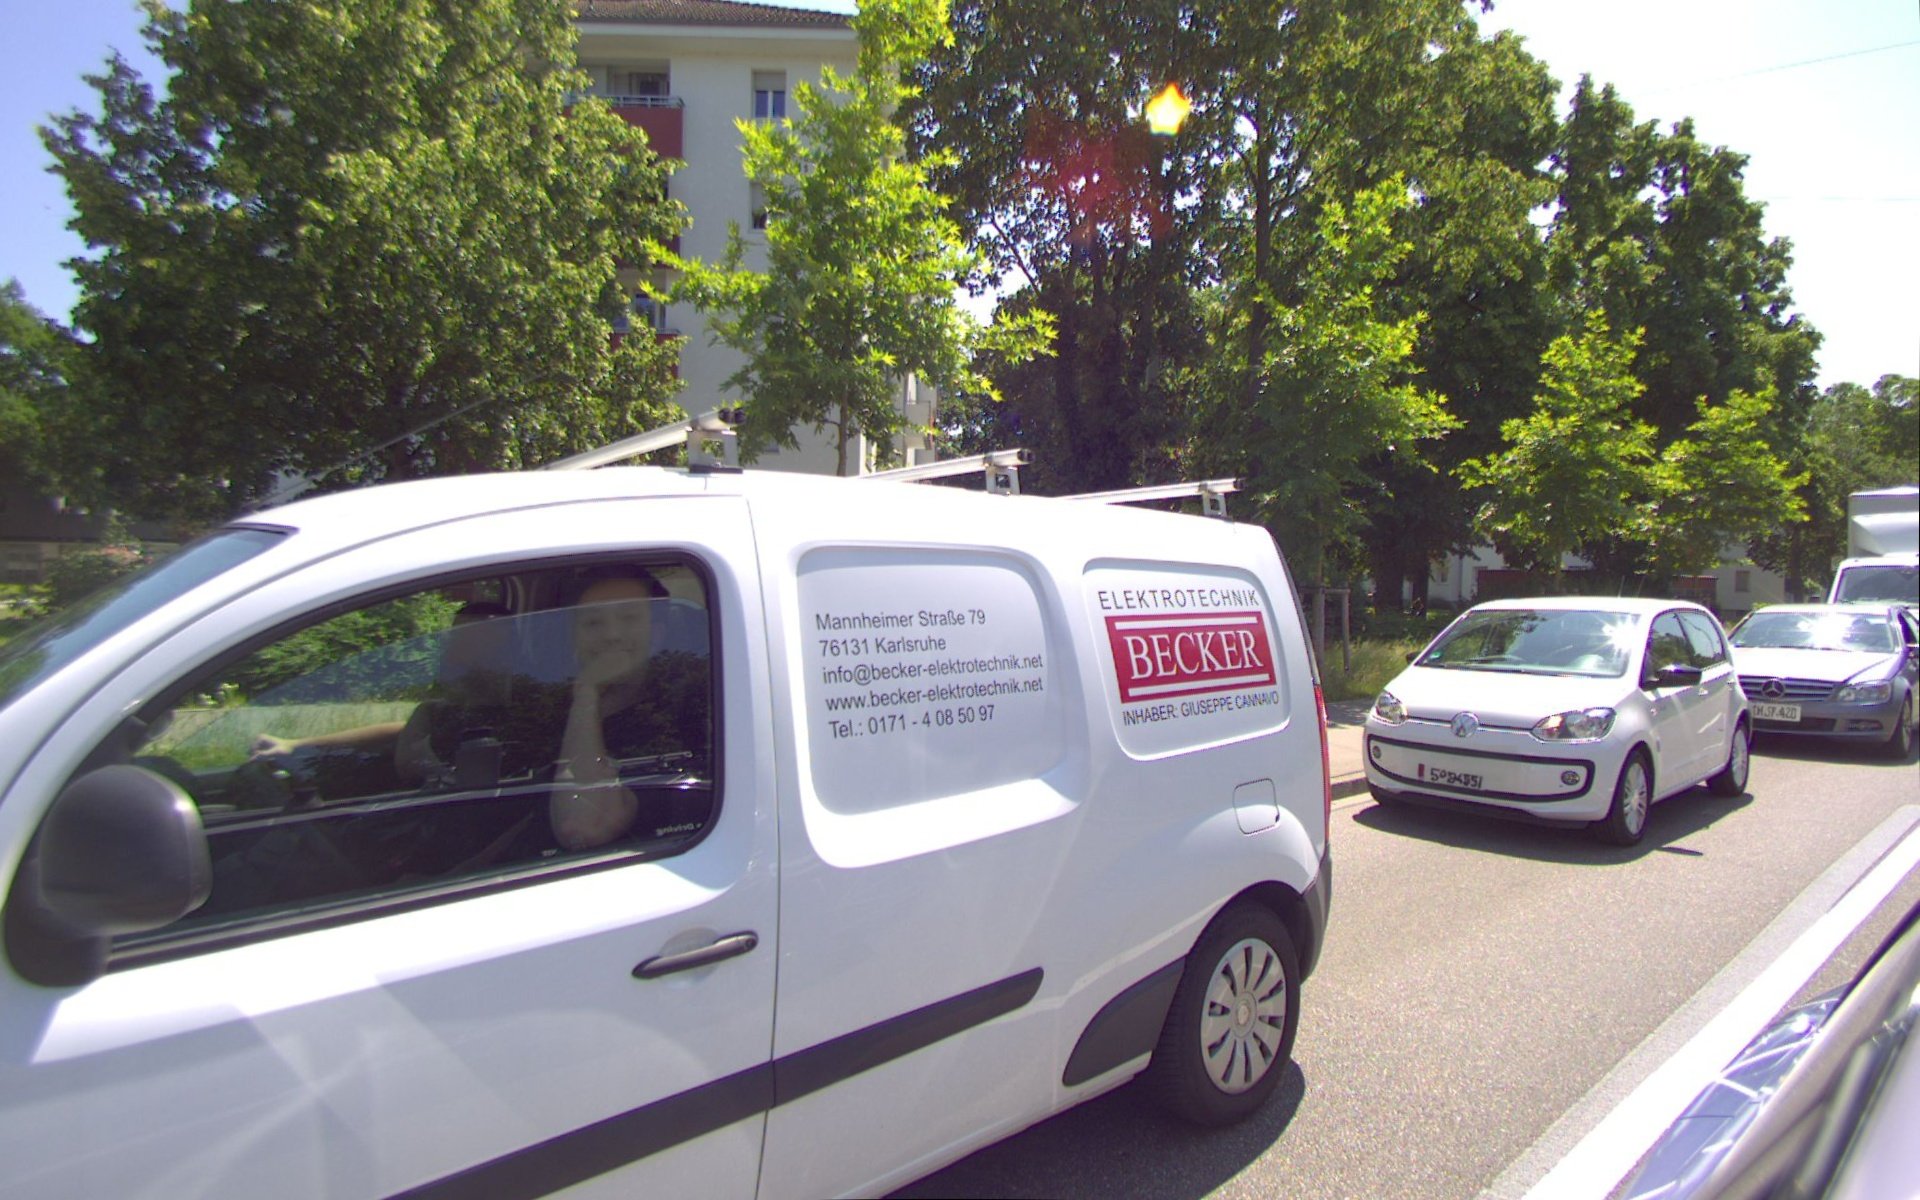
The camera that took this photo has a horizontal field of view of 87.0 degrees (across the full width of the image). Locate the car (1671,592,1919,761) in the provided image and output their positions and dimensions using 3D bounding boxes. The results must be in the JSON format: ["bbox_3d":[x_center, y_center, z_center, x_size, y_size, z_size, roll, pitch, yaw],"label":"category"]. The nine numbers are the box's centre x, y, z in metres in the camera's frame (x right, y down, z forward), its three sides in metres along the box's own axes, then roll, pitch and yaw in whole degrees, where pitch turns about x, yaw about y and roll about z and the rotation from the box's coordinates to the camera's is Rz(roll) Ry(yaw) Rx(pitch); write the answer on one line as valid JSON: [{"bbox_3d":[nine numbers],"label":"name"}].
[{"bbox_3d":[9.235,0.652,10.740,4.016,1.426,1.839,0,1,-41],"label":"car"}]

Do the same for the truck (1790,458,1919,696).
[{"bbox_3d":[16.517,-0.340,16.976,7.778,3.387,2.434,0,1,-39],"label":"truck"}]

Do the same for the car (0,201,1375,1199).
[{"bbox_3d":[-0.991,0.453,2.535,4.370,1.849,1.997,0,1,-41],"label":"car"}]

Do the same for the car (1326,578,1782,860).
[{"bbox_3d":[4.402,0.619,7.289,3.705,1.497,1.729,0,1,-41],"label":"car"}]
